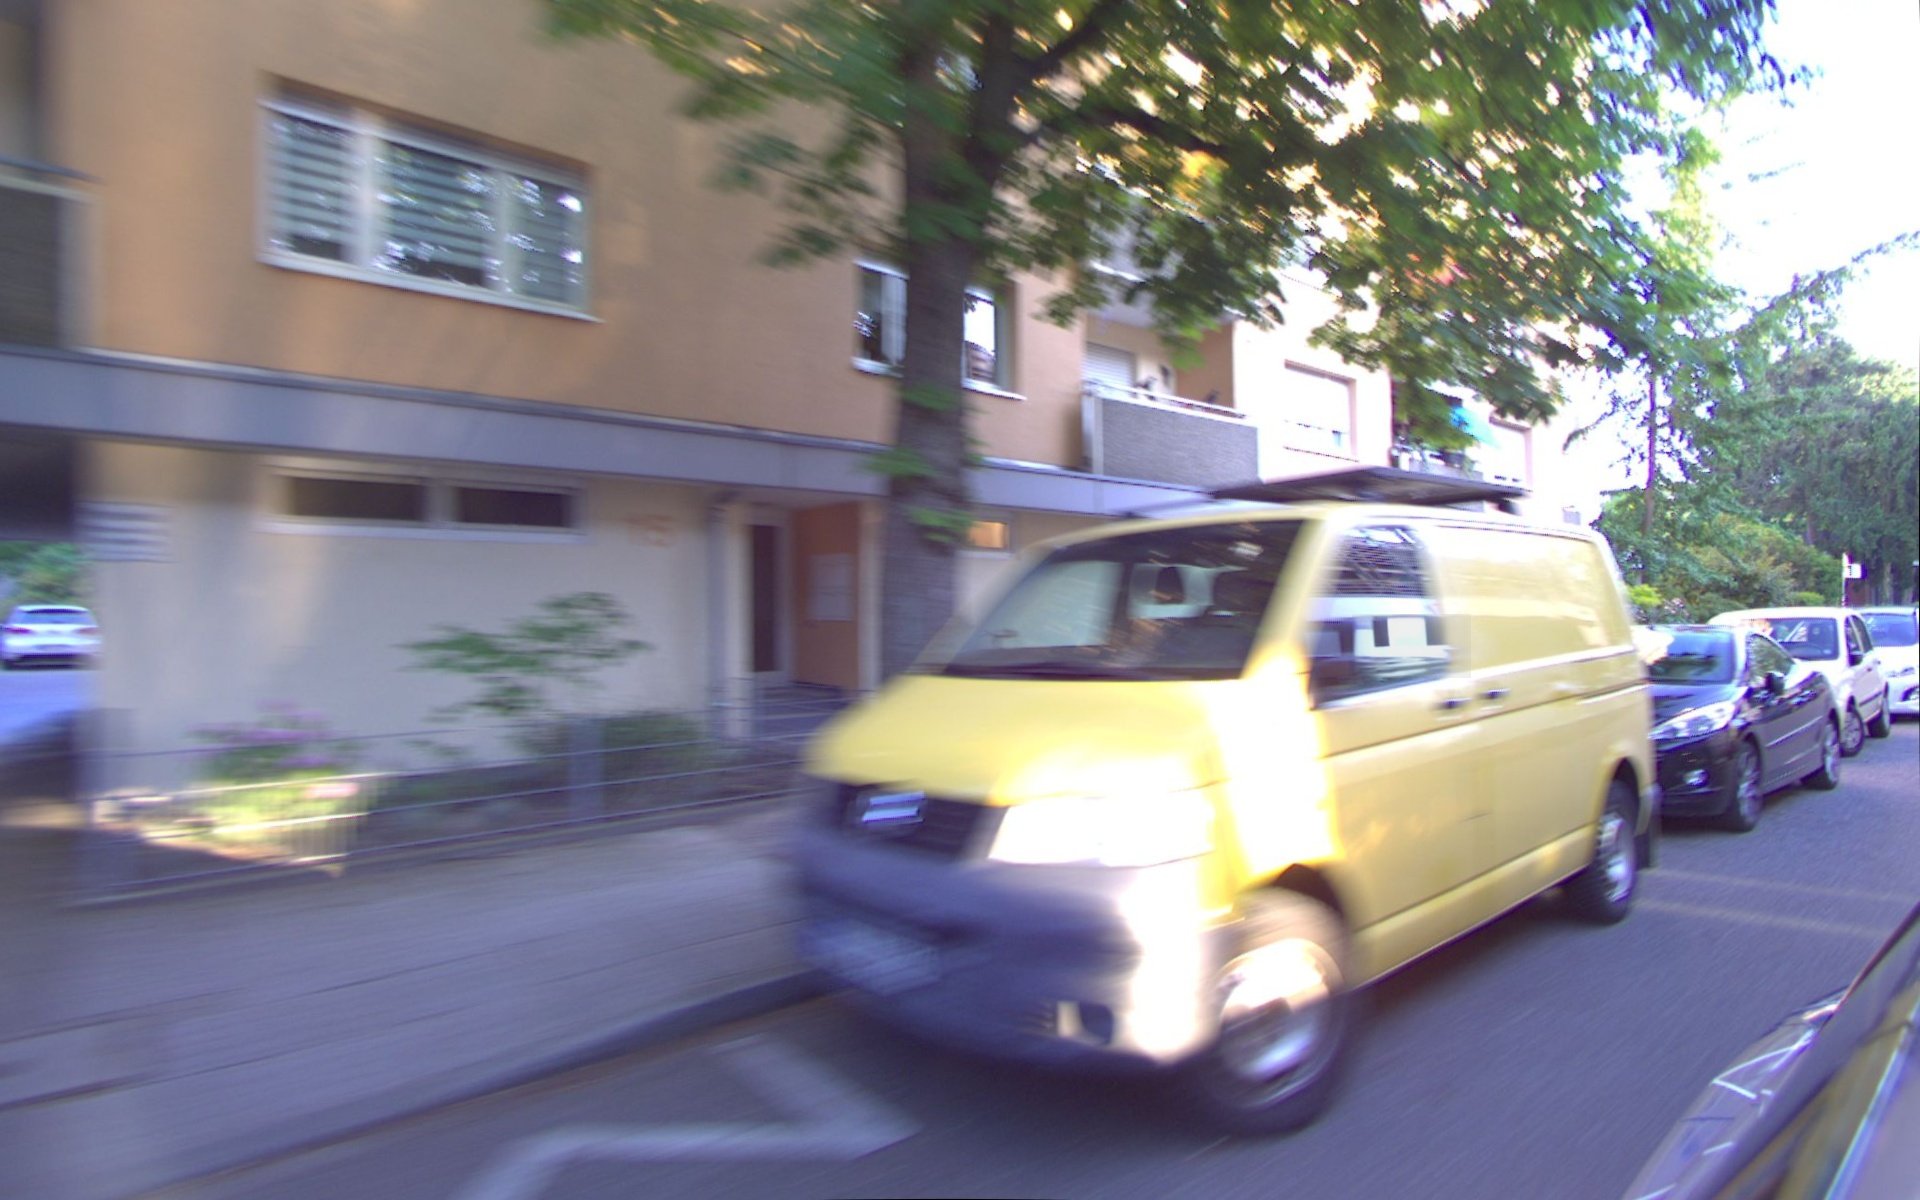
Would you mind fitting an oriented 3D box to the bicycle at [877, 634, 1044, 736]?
[{"bbox_3d":[0.038,0.827,10.321,1.802,0.933,0.524,1,-1,-41],"label":"bicycle"}]

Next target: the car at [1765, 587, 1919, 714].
[{"bbox_3d":[13.087,0.638,14.398,4.119,1.582,1.795,0,-1,-40],"label":"car"}]

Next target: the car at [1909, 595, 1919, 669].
[{"bbox_3d":[20.849,0.625,20.534,4.543,1.435,1.813,0,-1,-40],"label":"car"}]

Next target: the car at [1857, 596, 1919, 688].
[{"bbox_3d":[17.030,0.691,17.583,3.982,1.480,1.612,0,-1,-40],"label":"car"}]

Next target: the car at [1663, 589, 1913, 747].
[{"bbox_3d":[9.481,0.668,11.519,3.416,1.530,1.612,0,-1,-40],"label":"car"}]

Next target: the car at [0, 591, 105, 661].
[{"bbox_3d":[-21.879,0.595,24.291,1.964,1.538,3.995,1,-1,-39],"label":"car"}]

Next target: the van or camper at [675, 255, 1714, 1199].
[{"bbox_3d":[1.509,0.357,4.592,5.001,2.123,2.067,1,-1,-41],"label":"van or camper"}]

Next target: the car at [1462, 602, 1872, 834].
[{"bbox_3d":[5.706,0.742,7.999,3.927,1.399,1.610,1,-1,-39],"label":"car"}]
